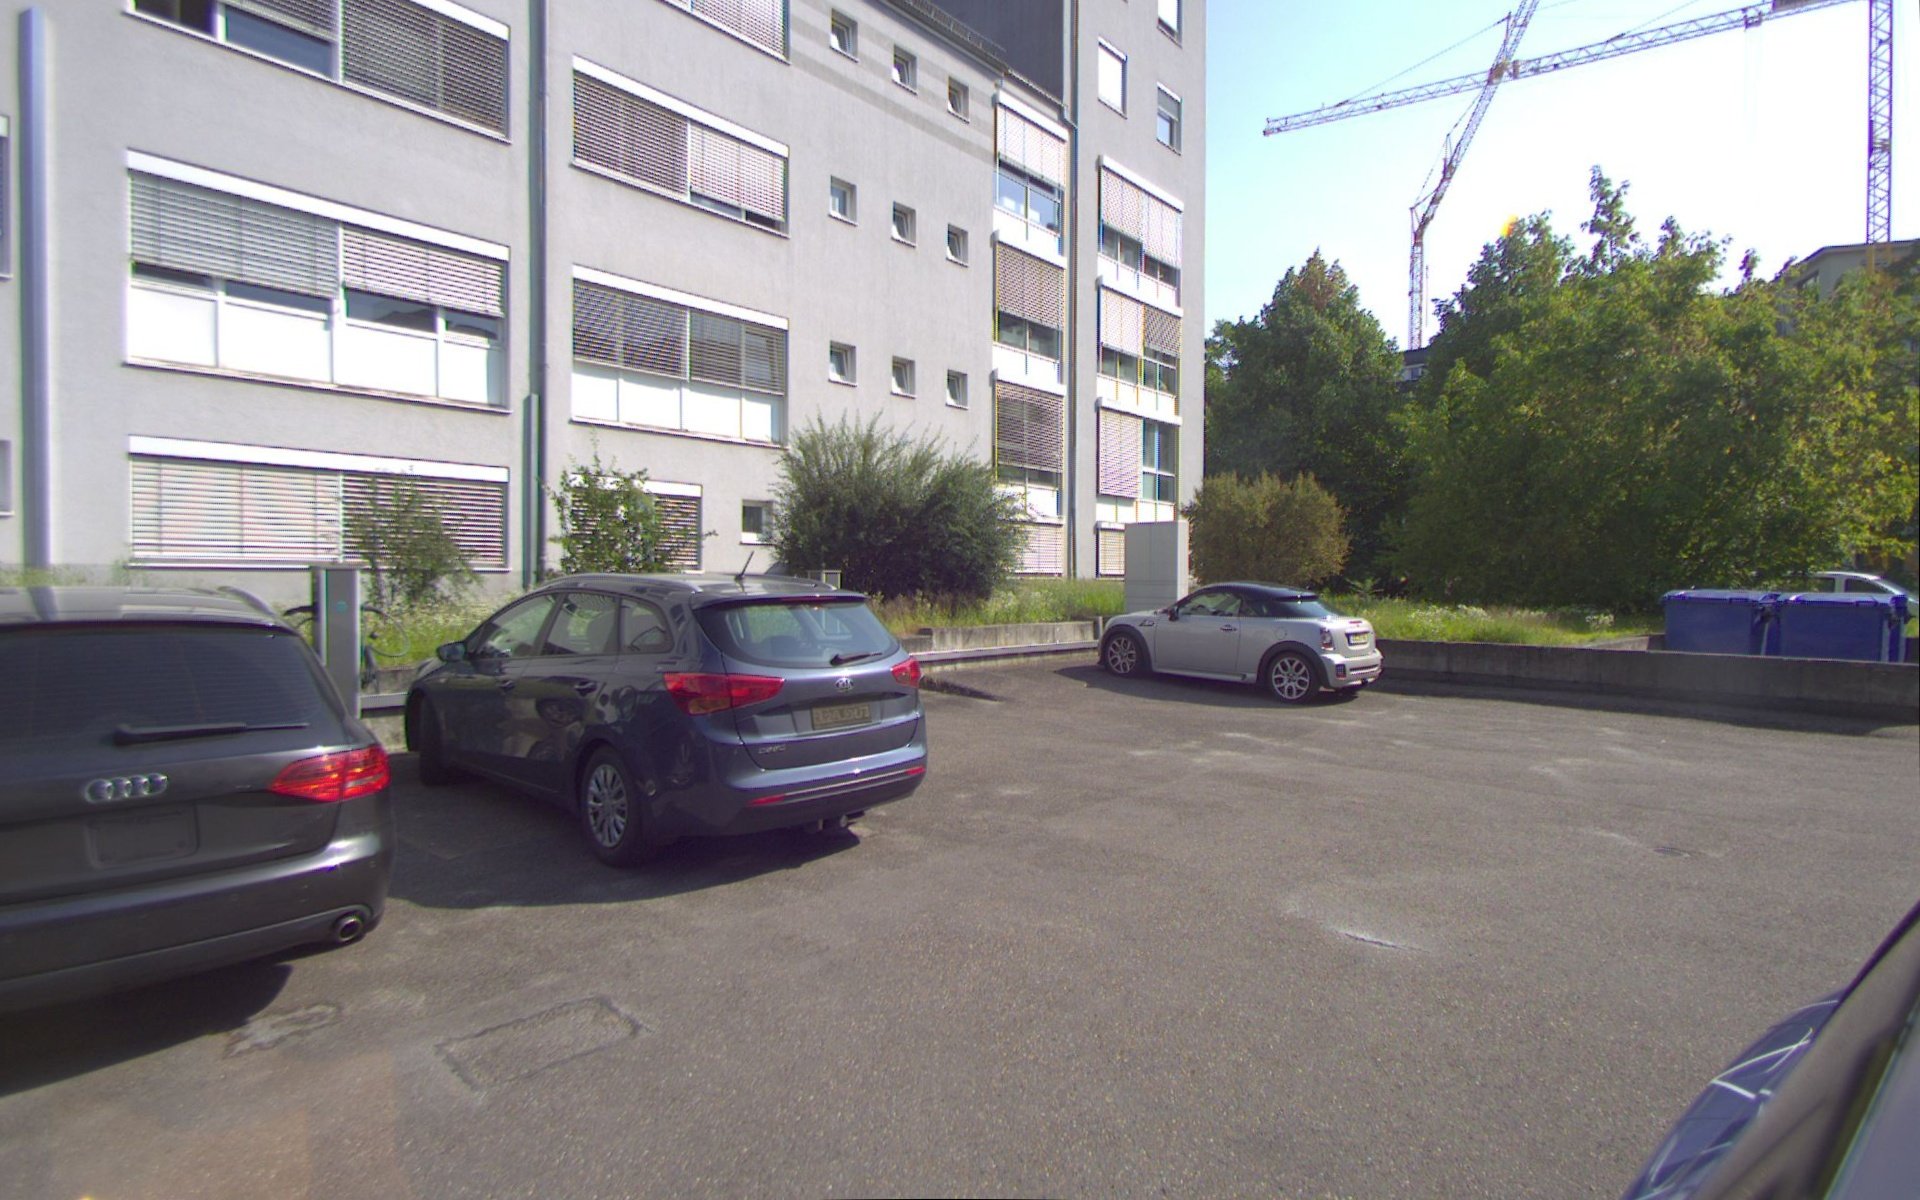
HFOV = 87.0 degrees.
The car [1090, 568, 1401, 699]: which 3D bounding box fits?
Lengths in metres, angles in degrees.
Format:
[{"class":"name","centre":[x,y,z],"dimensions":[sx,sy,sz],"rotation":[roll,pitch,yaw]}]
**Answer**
[{"class":"car","centre":[3.617,0.335,13.199],"dimensions":[1.632,1.455,3.572],"rotation":[0,2,-45]}]

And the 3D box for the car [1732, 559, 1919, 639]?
[{"class":"car","centre":[23.400,-0.058,26.461],"dimensions":[1.875,1.955,4.788],"rotation":[0,1,-40]}]

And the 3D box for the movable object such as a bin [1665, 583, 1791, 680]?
[{"class":"movable object such as a bin","centre":[11.281,0.421,14.868],"dimensions":[1.253,1.344,1.256],"rotation":[0,1,-42]}]

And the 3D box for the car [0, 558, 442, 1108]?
[{"class":"car","centre":[-3.816,0.562,4.381],"dimensions":[1.663,1.455,4.236],"rotation":[0,2,-44]}]

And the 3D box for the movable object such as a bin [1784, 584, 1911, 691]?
[{"class":"movable object such as a bin","centre":[12.140,0.470,13.845],"dimensions":[1.254,1.368,1.211],"rotation":[0,1,-44]}]

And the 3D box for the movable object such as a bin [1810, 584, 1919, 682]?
[{"class":"movable object such as a bin","centre":[13.364,0.444,14.844],"dimensions":[1.253,1.344,1.198],"rotation":[0,1,-42]}]

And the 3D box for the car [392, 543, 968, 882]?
[{"class":"car","centre":[-2.011,0.439,6.485],"dimensions":[4.046,1.496,1.715],"rotation":[2,2,43]}]

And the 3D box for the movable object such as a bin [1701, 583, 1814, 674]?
[{"class":"movable object such as a bin","centre":[12.475,0.403,15.834],"dimensions":[1.253,1.344,1.198],"rotation":[0,1,-42]}]
